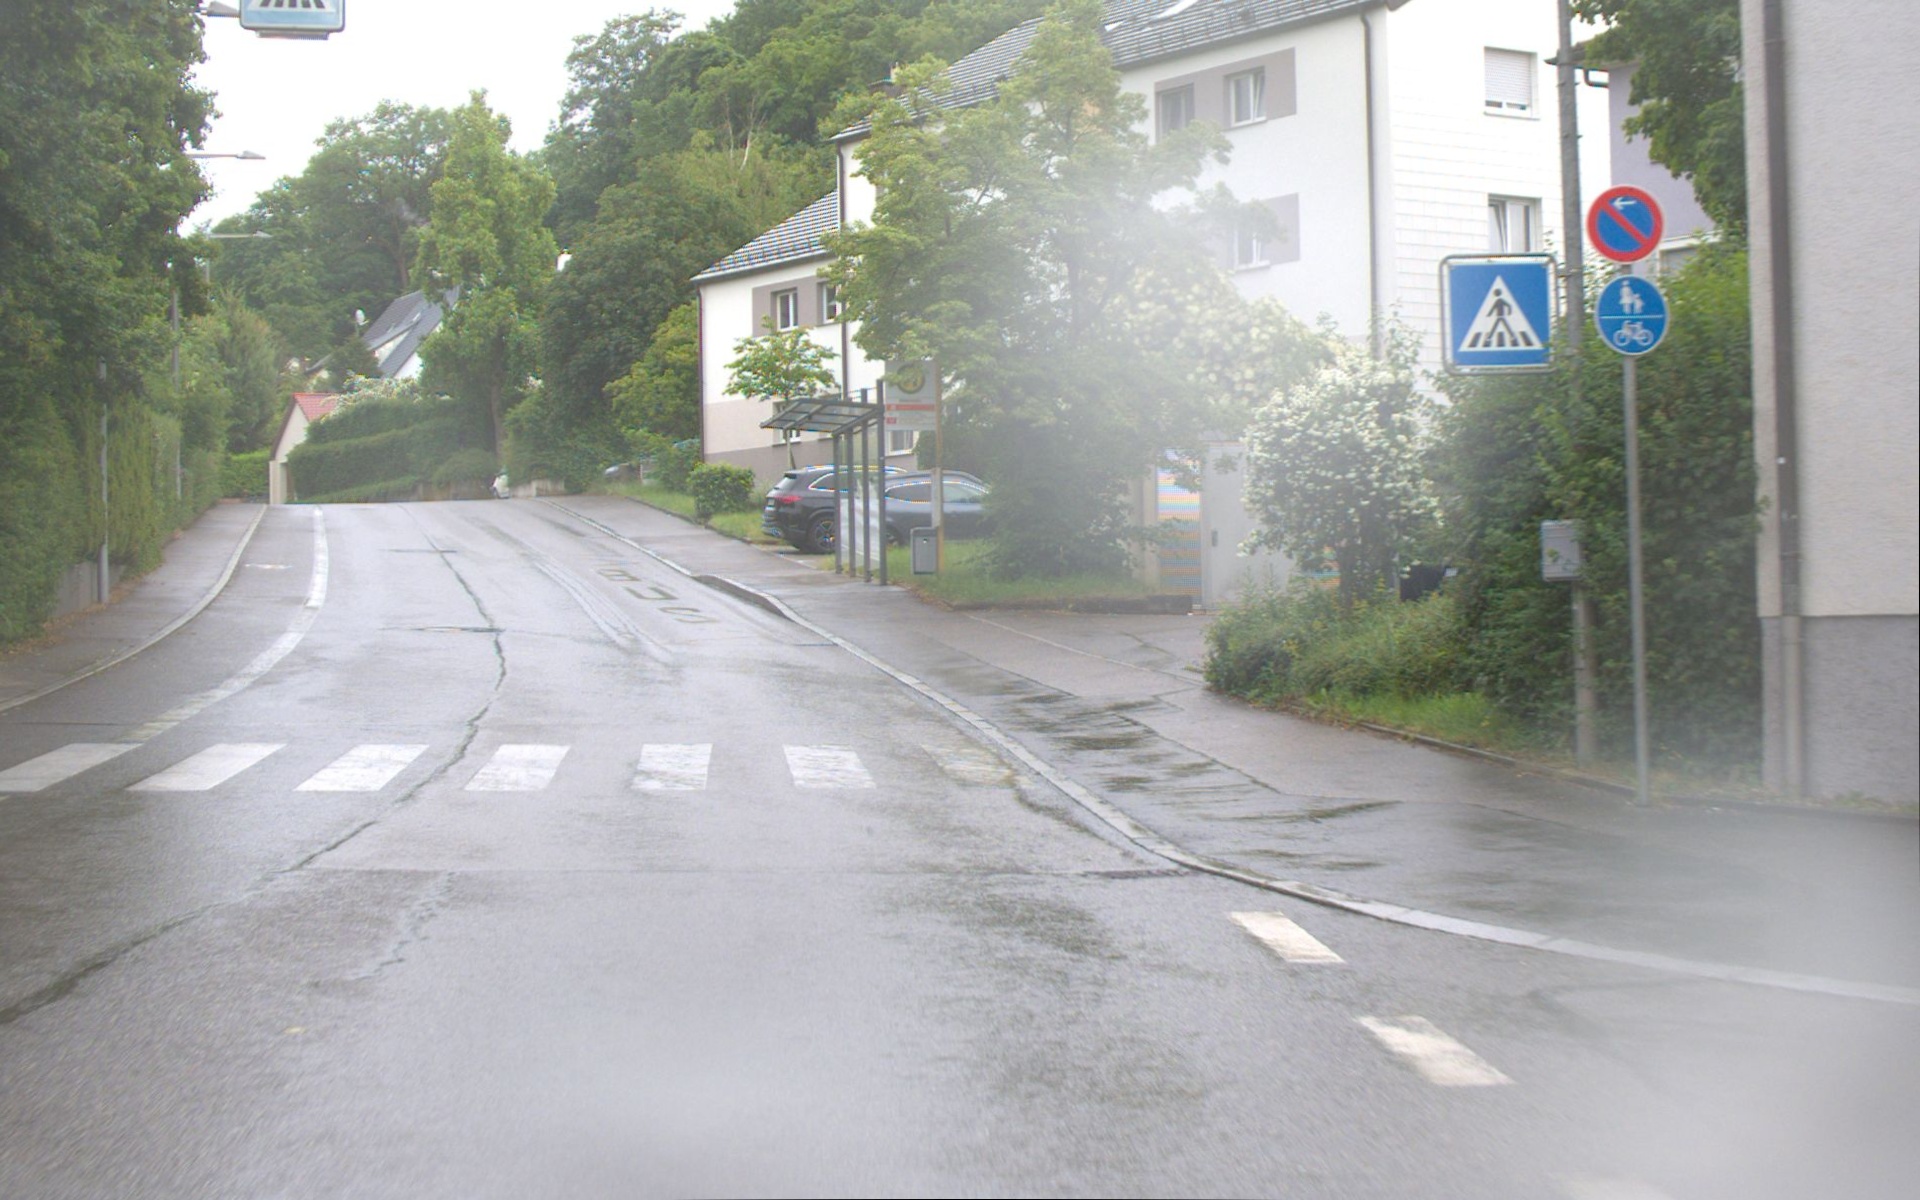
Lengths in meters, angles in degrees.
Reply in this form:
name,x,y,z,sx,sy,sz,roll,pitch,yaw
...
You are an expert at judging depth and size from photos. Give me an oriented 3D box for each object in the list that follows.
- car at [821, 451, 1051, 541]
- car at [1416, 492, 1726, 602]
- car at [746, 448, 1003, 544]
name,x,y,z,sx,sy,sz,roll,pitch,yaw
car,-0.441,-1.836,60.066,3.742,1.453,1.725,-1,4,-11
car,8.188,-0.707,46.198,3.699,1.426,1.797,0,0,-9
car,-1.631,-1.990,65.103,4.524,1.654,1.857,-2,4,-16
